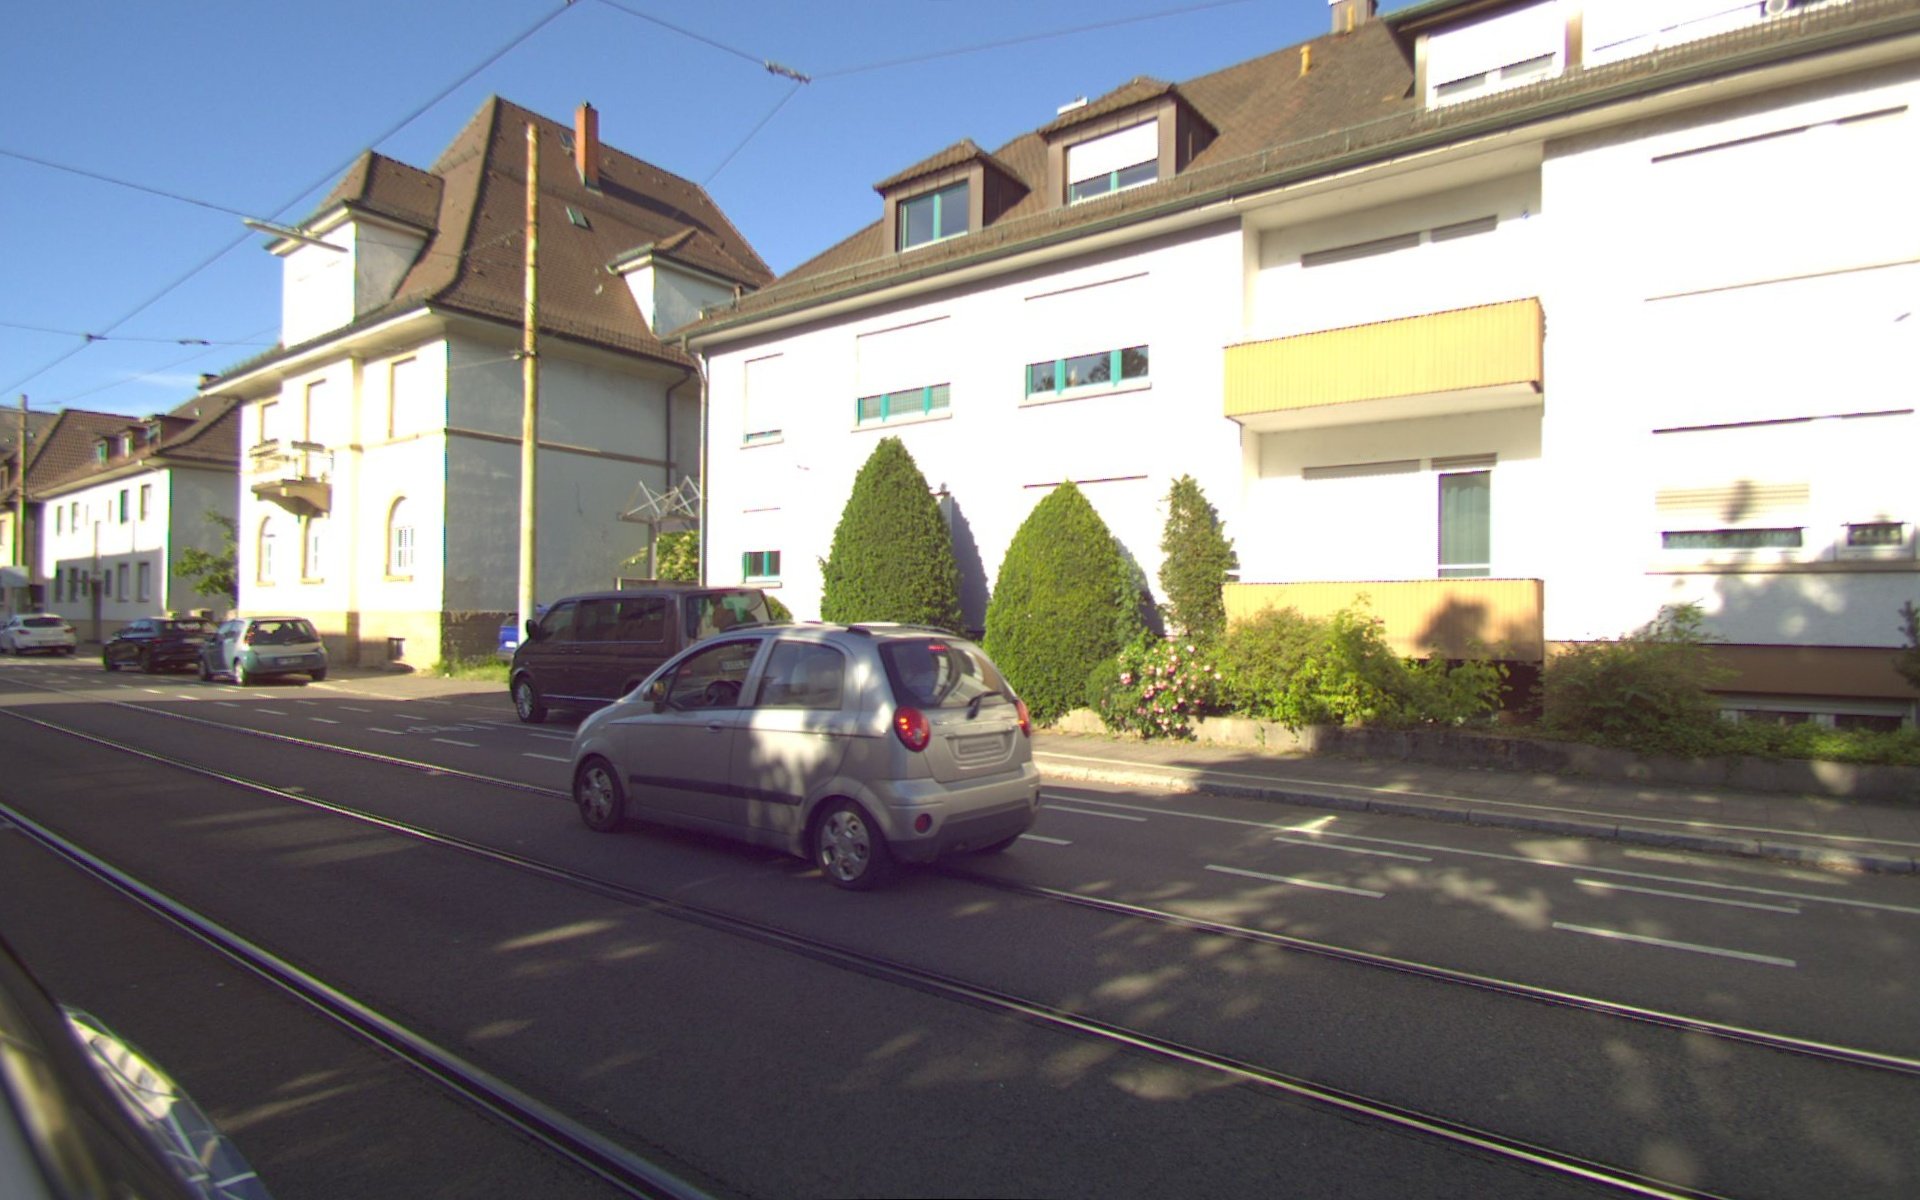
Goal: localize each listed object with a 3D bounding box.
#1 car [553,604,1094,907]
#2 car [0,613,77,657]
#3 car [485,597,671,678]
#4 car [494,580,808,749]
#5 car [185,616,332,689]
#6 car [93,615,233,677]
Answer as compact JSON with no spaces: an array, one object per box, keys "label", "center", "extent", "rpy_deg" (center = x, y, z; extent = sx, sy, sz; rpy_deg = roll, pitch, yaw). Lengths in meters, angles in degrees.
[{"label":"car","center":[-1.009,0.807,6.678],"extent":[3.435,1.488,1.560],"rpy_deg":[-1,-3,38]},{"label":"car","center":[-32.949,1.234,35.907],"extent":[4.009,1.468,1.616],"rpy_deg":[0,-3,38]},{"label":"car","center":[-9.160,0.885,24.536],"extent":[1.751,1.797,3.890],"rpy_deg":[0,-2,35]},{"label":"car","center":[-4.547,0.785,14.465],"extent":[4.944,2.029,1.887],"rpy_deg":[-1,0,40]},{"label":"car","center":[-15.921,1.120,22.921],"extent":[3.829,1.488,1.661],"rpy_deg":[-1,0,38]},{"label":"car","center":[-21.054,1.164,26.688],"extent":[4.239,1.488,1.649],"rpy_deg":[0,-2,34]}]
